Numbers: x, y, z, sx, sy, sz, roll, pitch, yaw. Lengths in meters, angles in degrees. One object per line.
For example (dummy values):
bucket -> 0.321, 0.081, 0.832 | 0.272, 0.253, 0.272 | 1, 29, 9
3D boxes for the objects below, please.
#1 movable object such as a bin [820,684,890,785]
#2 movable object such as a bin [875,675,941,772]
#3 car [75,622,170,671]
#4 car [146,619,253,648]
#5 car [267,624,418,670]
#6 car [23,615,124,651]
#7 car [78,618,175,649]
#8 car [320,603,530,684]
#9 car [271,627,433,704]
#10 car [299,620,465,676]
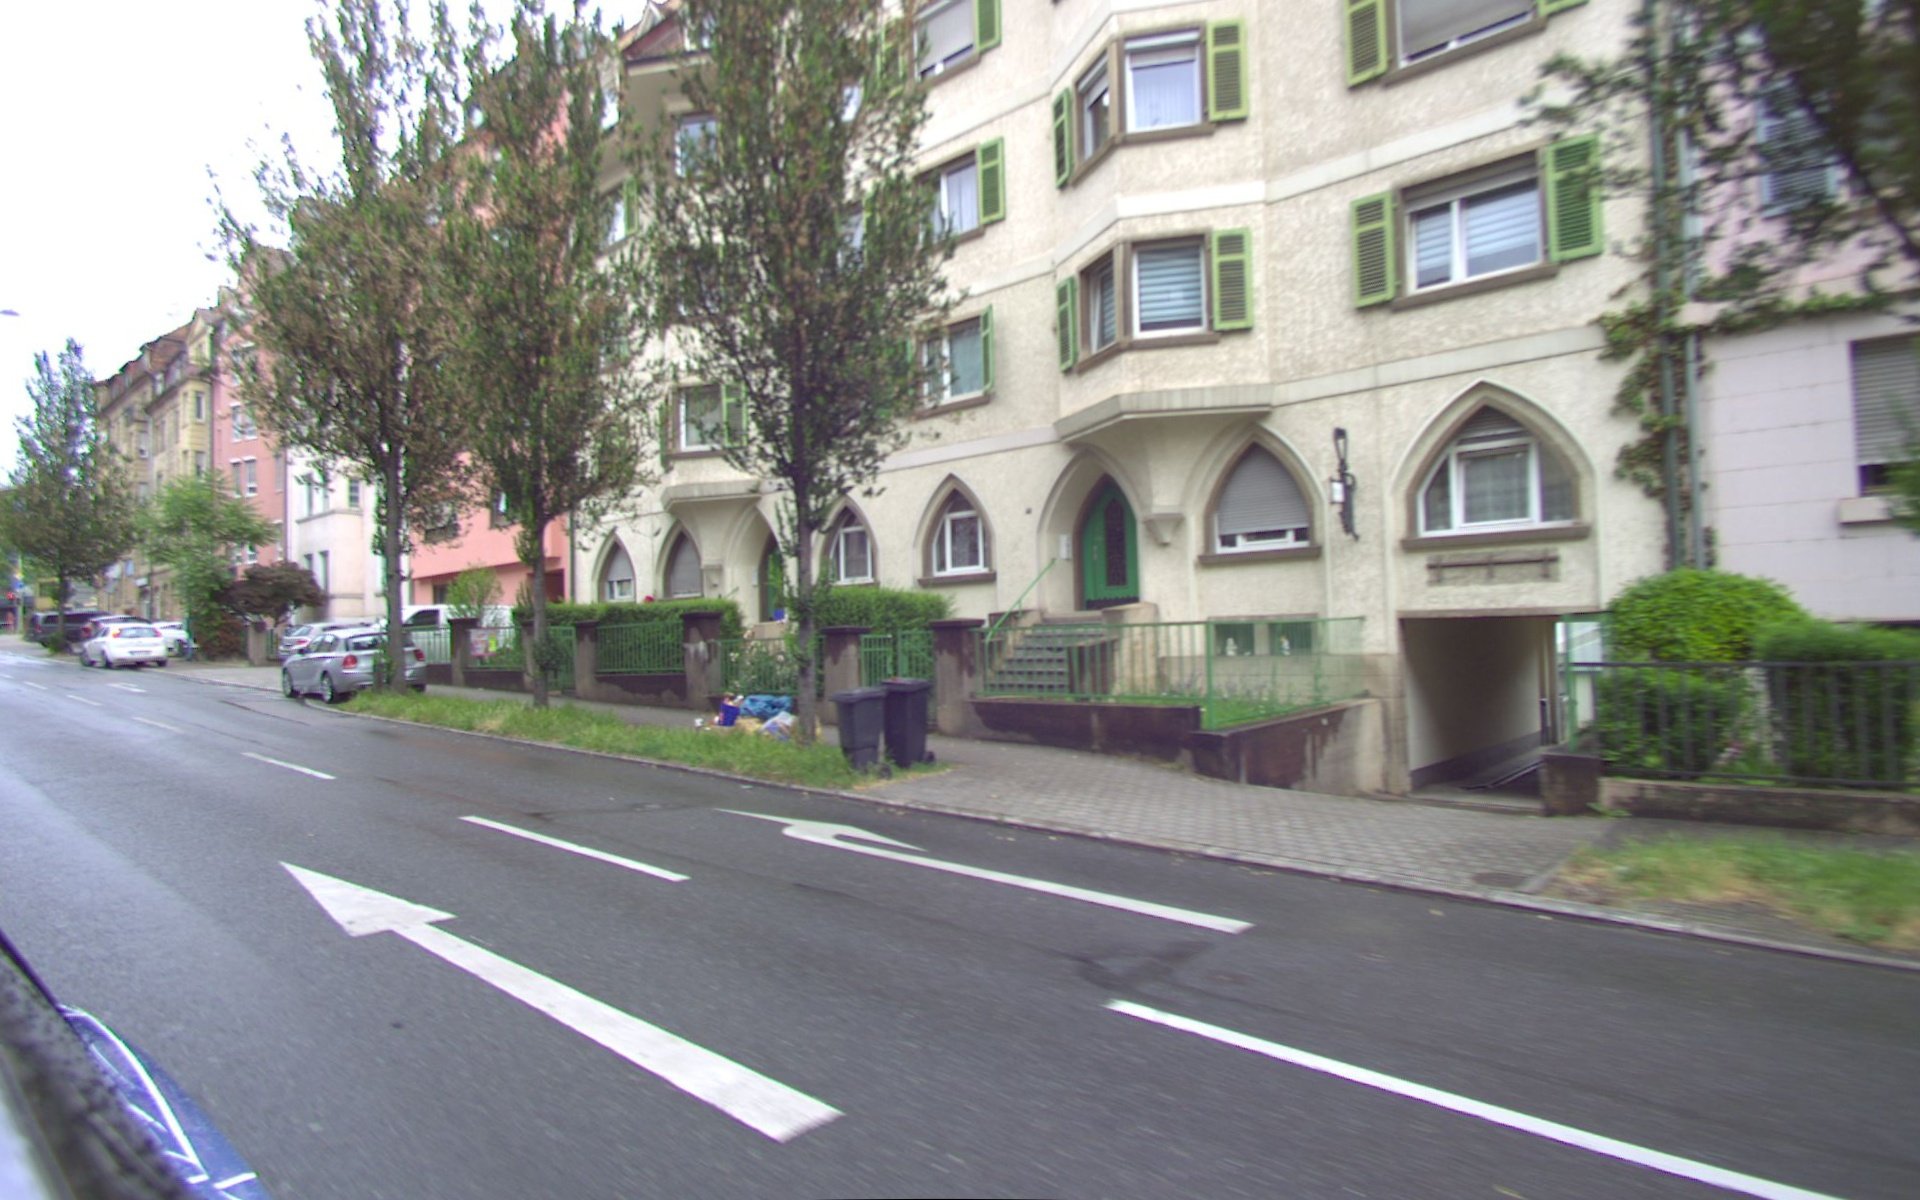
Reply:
movable object such as a bin -> -1.020, 1.296, 9.856 | 0.572, 0.896, 0.360 | -2, 0, 40
movable object such as a bin -> -0.539, 1.256, 10.457 | 0.572, 0.918, 0.360 | 0, 1, 40
car -> -28.210, 1.519, 34.067 | 3.646, 1.483, 1.650 | 0, 1, 37
car -> -36.740, 1.603, 48.933 | 1.645, 1.307, 3.878 | -1, -1, 41
car -> -20.236, 1.497, 33.324 | 1.721, 1.408, 3.886 | 0, -1, 34
car -> -48.497, 1.790, 55.429 | 1.865, 1.861, 3.881 | -1, -1, 38
car -> -45.626, 1.795, 55.445 | 1.592, 1.634, 3.878 | -1, -1, 41
car -> -14.355, 1.087, 27.398 | 1.917, 1.919, 4.673 | 0, 1, 38
car -> -12.656, 1.273, 20.972 | 4.135, 1.428, 1.664 | -1, -2, 41
car -> -16.916, 1.359, 29.748 | 1.757, 1.408, 3.881 | 0, 1, 38
